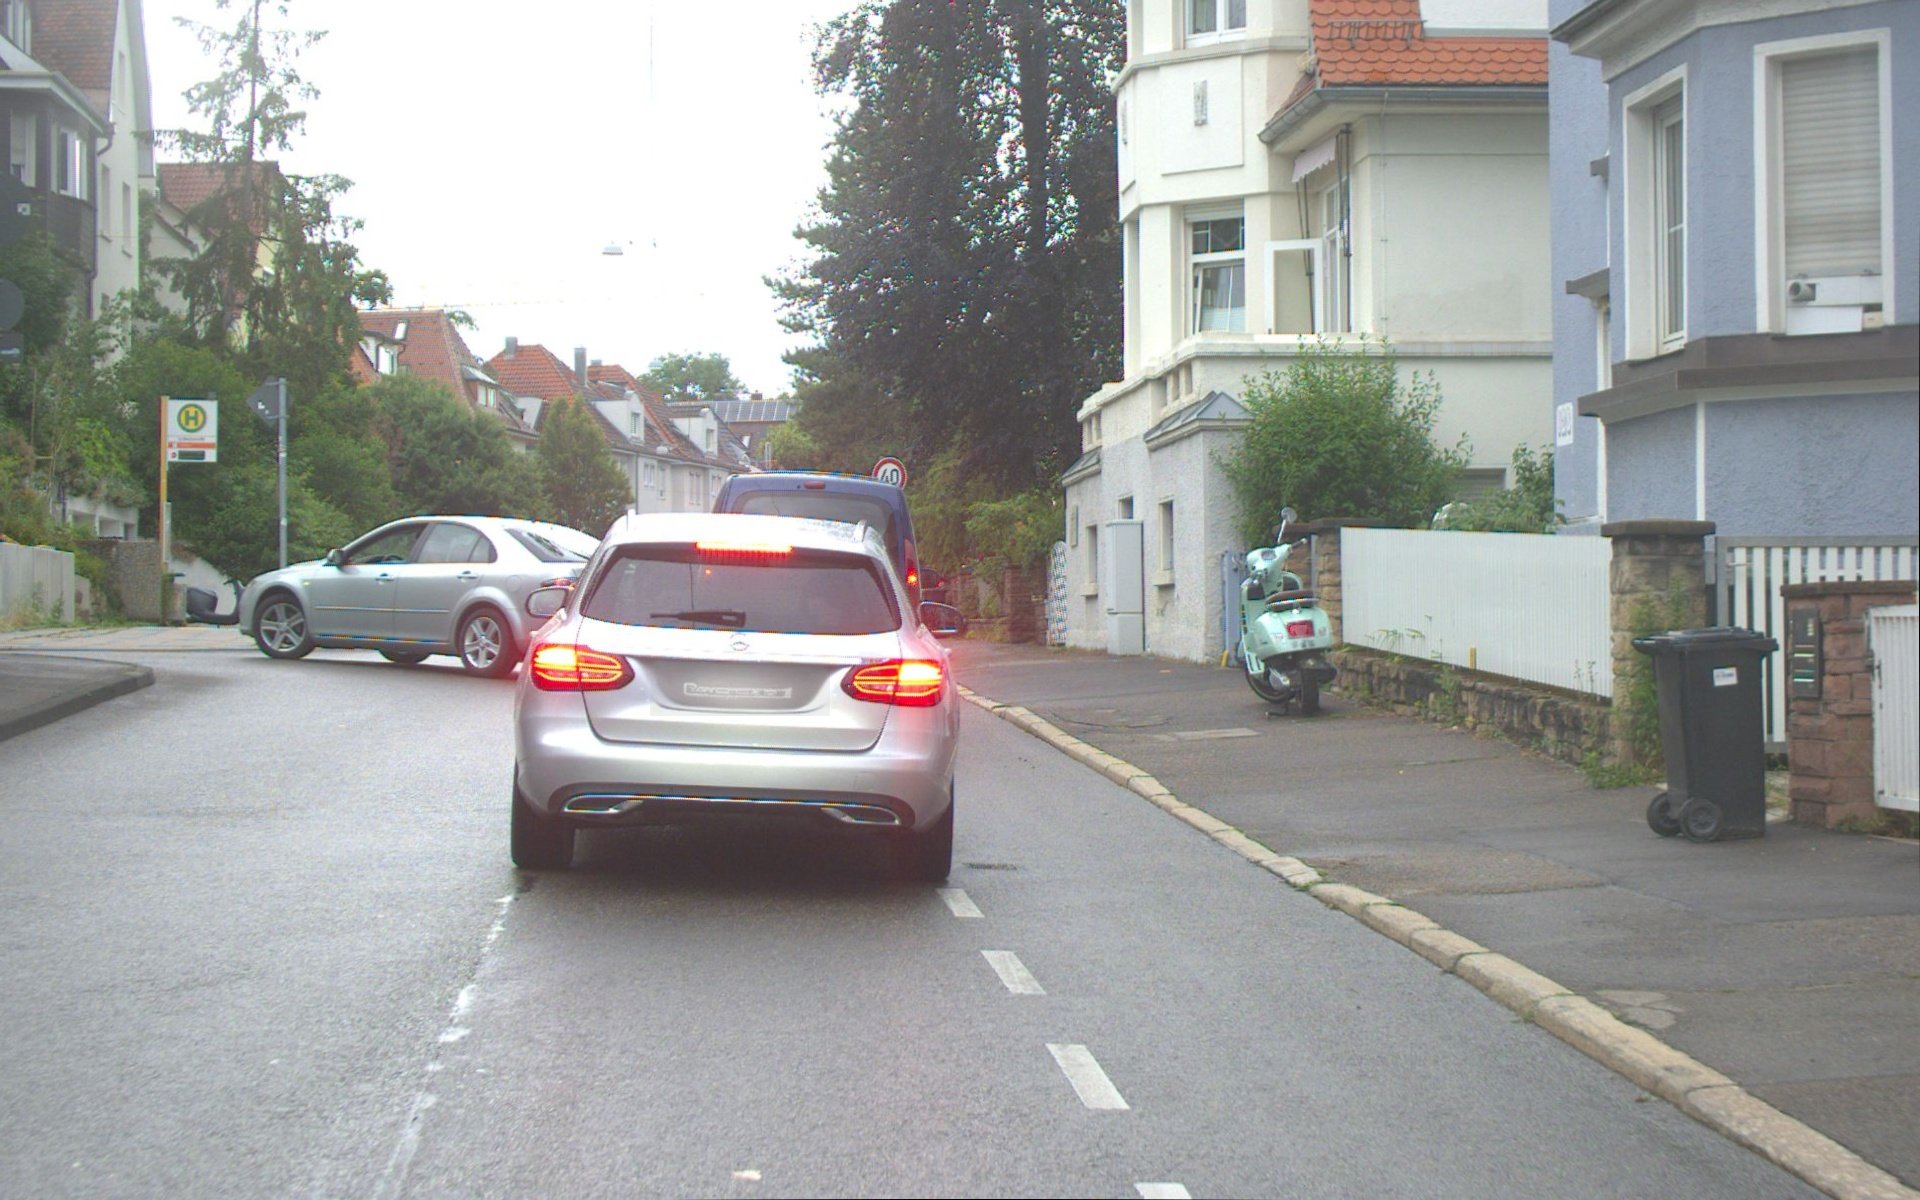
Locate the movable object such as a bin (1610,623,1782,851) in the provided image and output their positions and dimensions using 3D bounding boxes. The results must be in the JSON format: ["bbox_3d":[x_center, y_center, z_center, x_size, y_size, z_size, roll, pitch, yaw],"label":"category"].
[{"bbox_3d":[3.235,0.592,15.138,0.549,0.932,0.634,-3,2,-3],"label":"movable object such as a bin"}]

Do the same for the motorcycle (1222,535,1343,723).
[{"bbox_3d":[2.308,0.174,24.816,0.582,1.257,2.332,-2,1,-1],"label":"motorcycle"}]

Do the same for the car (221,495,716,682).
[{"bbox_3d":[-4.506,-0.149,31.259,4.328,1.534,1.996,2,2,38],"label":"car"}]

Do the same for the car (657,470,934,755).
[{"bbox_3d":[-1.145,0.019,25.048,1.824,1.876,4.096,-1,2,-1],"label":"car"}]

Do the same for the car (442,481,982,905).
[{"bbox_3d":[-1.013,0.291,14.948,1.982,1.548,4.298,1,2,-2],"label":"car"}]
